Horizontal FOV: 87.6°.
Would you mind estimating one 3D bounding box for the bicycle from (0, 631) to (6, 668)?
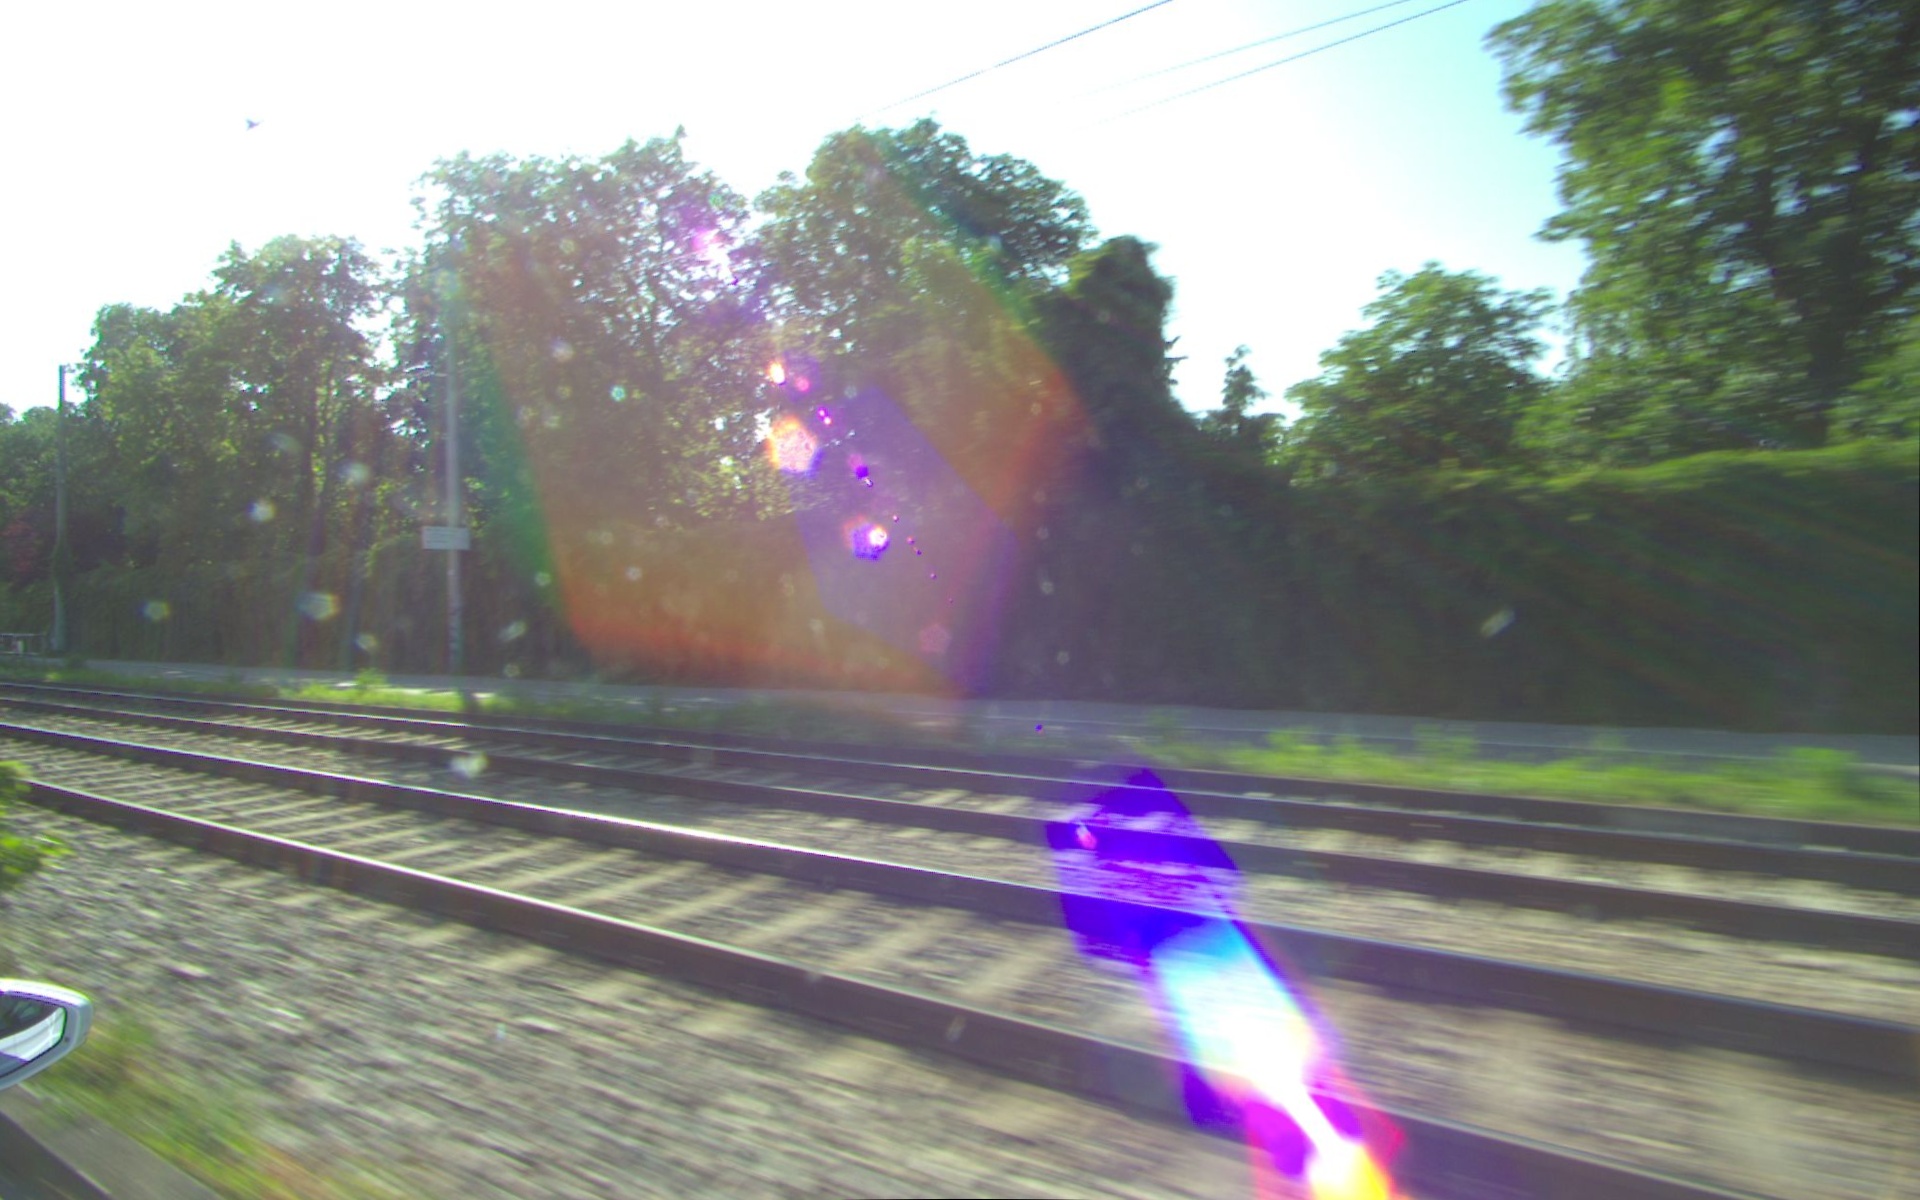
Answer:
[{"bbox_3d":[-30.255,1.502,30.263,1.901,1.129,0.942,0,-1,-33],"label":"bicycle"}]
